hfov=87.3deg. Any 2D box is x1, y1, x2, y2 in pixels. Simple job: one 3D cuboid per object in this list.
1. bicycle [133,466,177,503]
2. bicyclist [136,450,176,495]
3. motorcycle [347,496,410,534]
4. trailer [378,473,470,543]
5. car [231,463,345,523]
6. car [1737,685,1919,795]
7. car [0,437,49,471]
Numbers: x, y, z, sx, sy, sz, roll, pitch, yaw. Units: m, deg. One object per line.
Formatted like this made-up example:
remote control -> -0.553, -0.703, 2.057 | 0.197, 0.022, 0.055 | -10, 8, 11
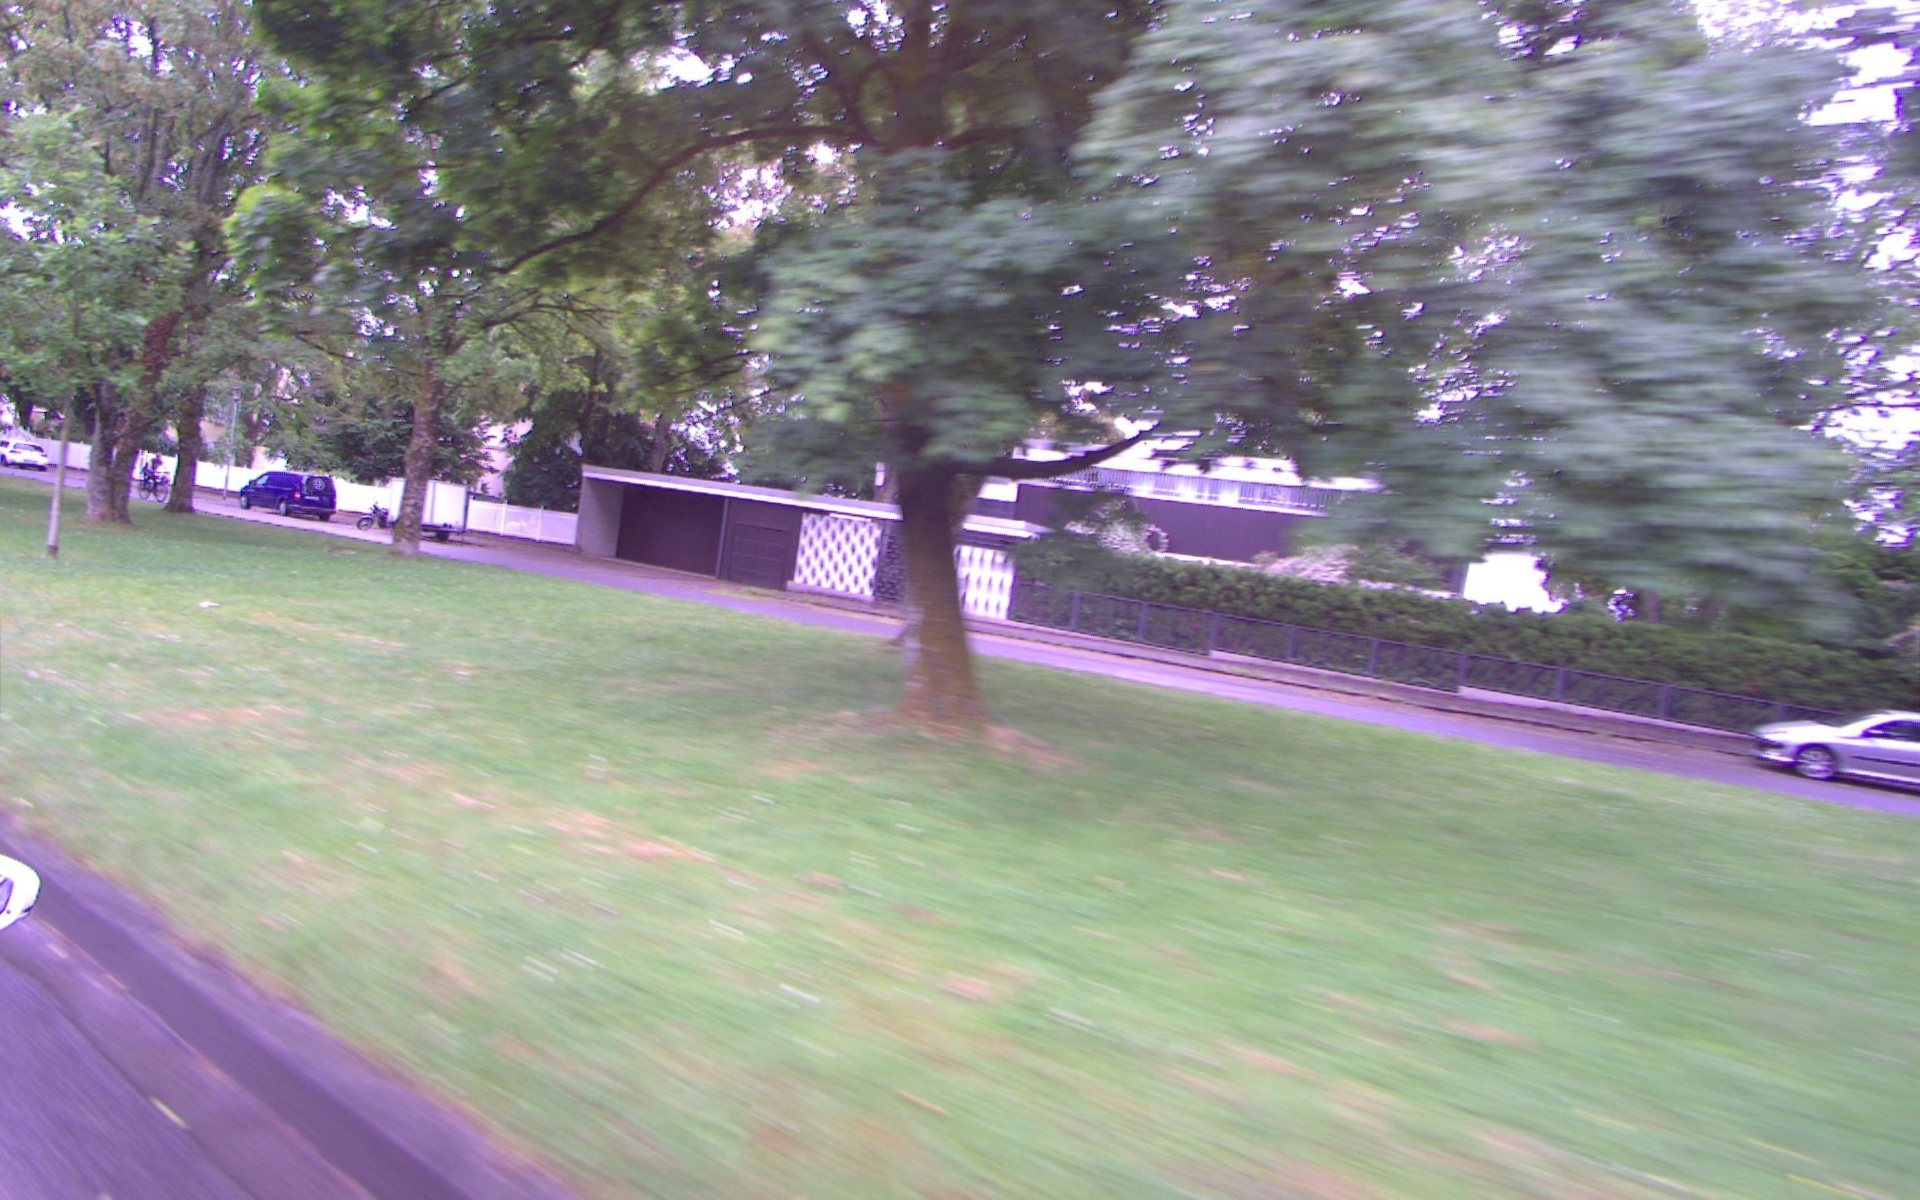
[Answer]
bicycle -> -28.704, -4.118, 35.873 | 1.832, 1.153, 0.596 | 8, 2, 32
bicyclist -> -28.673, -4.547, 35.867 | 0.983, 1.408, 0.745 | 8, 2, 32
motorcycle -> -21.749, -3.188, 37.640 | 1.876, 1.107, 0.651 | 7, 3, -39
trailer -> -19.607, -3.376, 36.797 | 2.898, 2.183, 1.438 | 8, 3, 27
car -> -27.493, -4.381, 41.151 | 4.568, 1.834, 1.942 | 10, 4, 29
car -> 16.112, 2.517, 17.568 | 3.646, 1.394, 1.682 | 8, 4, 29
car -> -50.347, -7.843, 53.370 | 3.939, 1.429, 1.618 | 9, 4, 26
